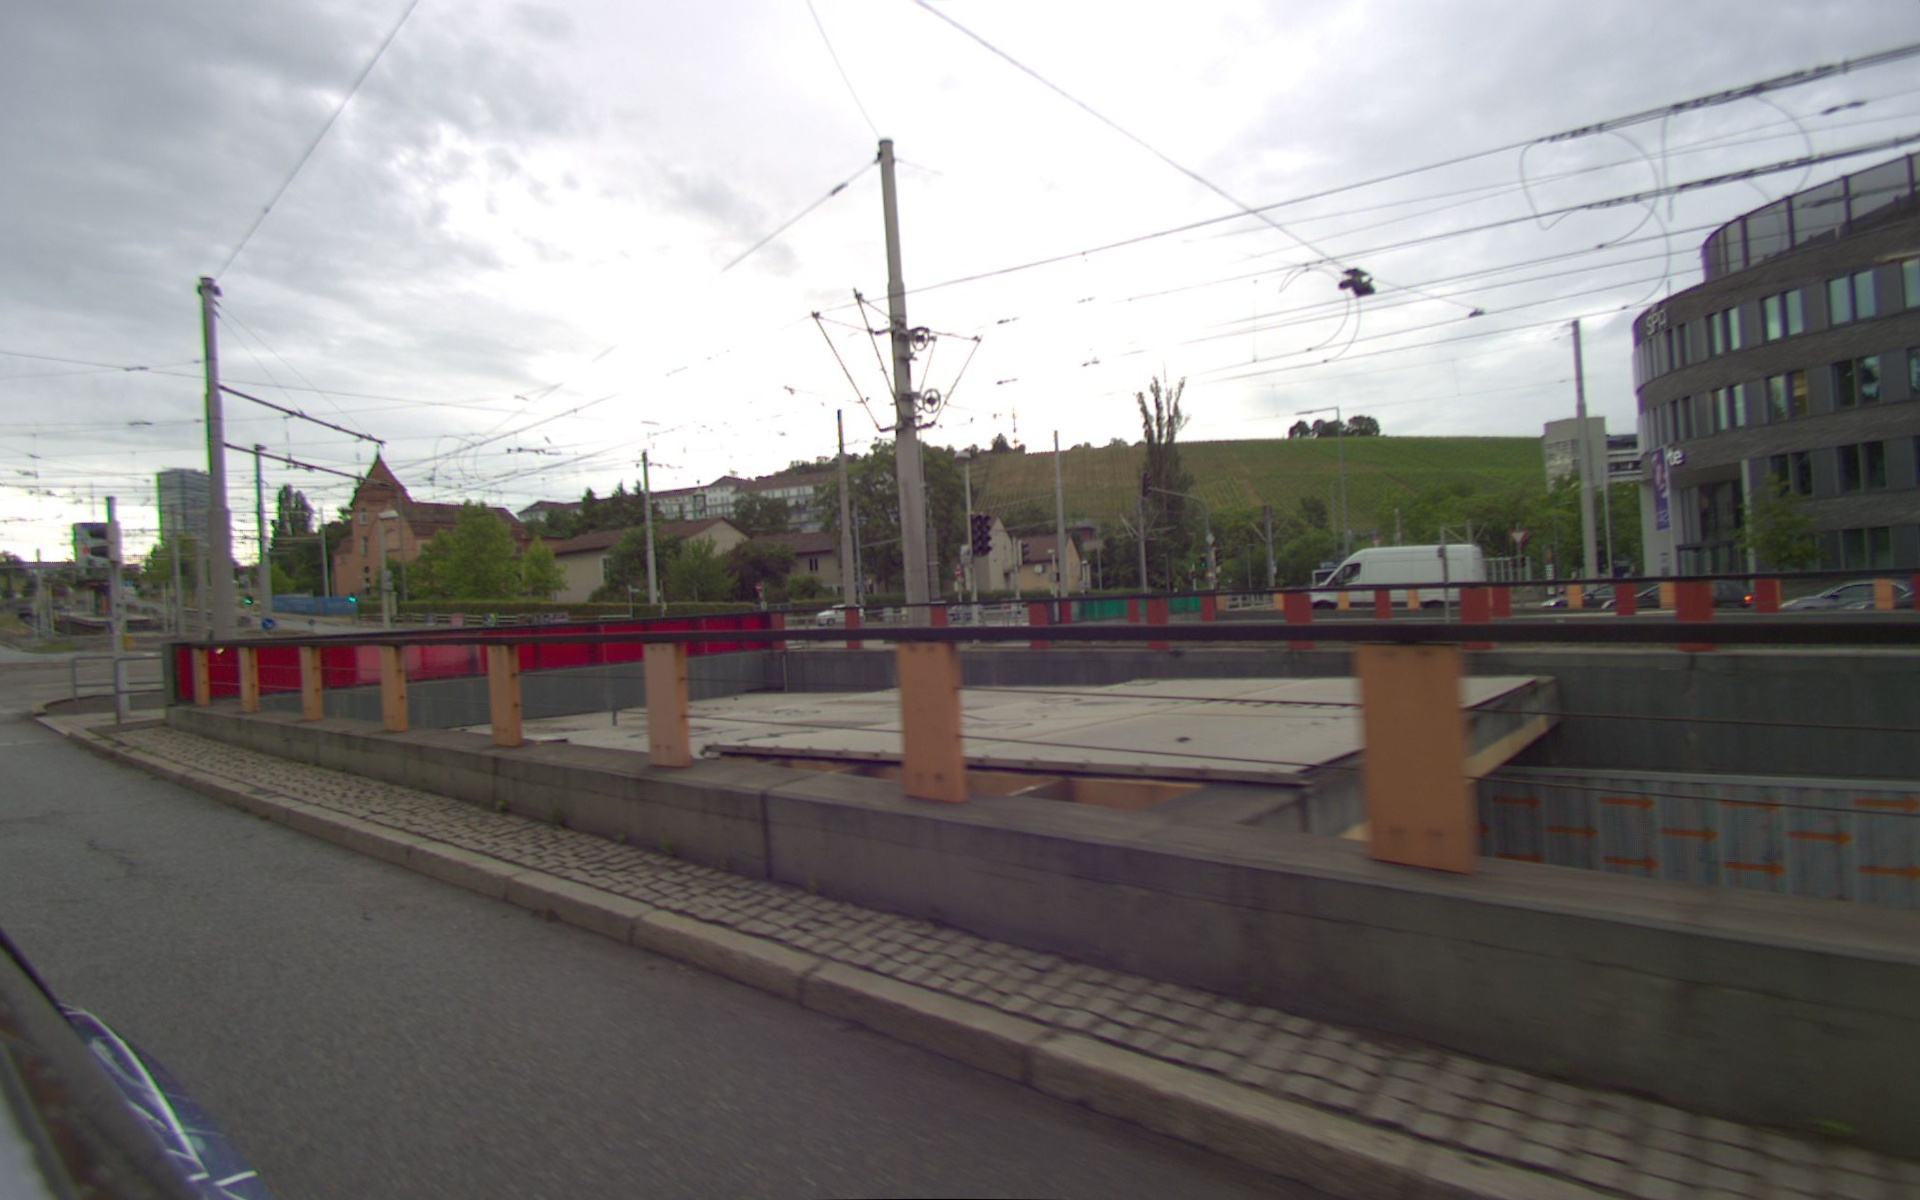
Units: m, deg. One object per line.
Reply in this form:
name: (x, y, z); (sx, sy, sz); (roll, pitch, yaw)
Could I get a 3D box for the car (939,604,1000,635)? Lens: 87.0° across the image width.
car: (0.693, 1.373, 72.623); (3.936, 2.028, 2.004); (-1, 2, -38)

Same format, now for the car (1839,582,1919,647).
car: (25.183, 0.389, 26.017); (3.829, 1.597, 1.806); (3, 3, 41)

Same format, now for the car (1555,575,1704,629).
car: (21.879, 0.019, 33.137); (3.829, 1.597, 1.806); (3, 3, 41)

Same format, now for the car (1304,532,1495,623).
car: (14.934, -0.675, 34.616); (5.711, 2.853, 1.974); (0, -2, 39)

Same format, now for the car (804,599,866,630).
car: (-8.834, 0.988, 71.597); (3.935, 2.028, 2.005); (-1, 2, -38)

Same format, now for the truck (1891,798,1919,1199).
truck: (6.835, 3.053, 2.147); (6.774, 4.229, 2.736); (-2, -2, 38)

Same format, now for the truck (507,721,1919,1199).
truck: (1.962, 3.231, 5.999); (13.012, 4.229, 2.736); (-2, -2, 38)

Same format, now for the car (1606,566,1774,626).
car: (21.451, -0.170, 29.805); (3.829, 1.597, 1.806); (3, 3, 41)

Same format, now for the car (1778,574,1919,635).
car: (26.242, 0.098, 29.390); (3.829, 1.596, 1.807); (1, 4, 41)
